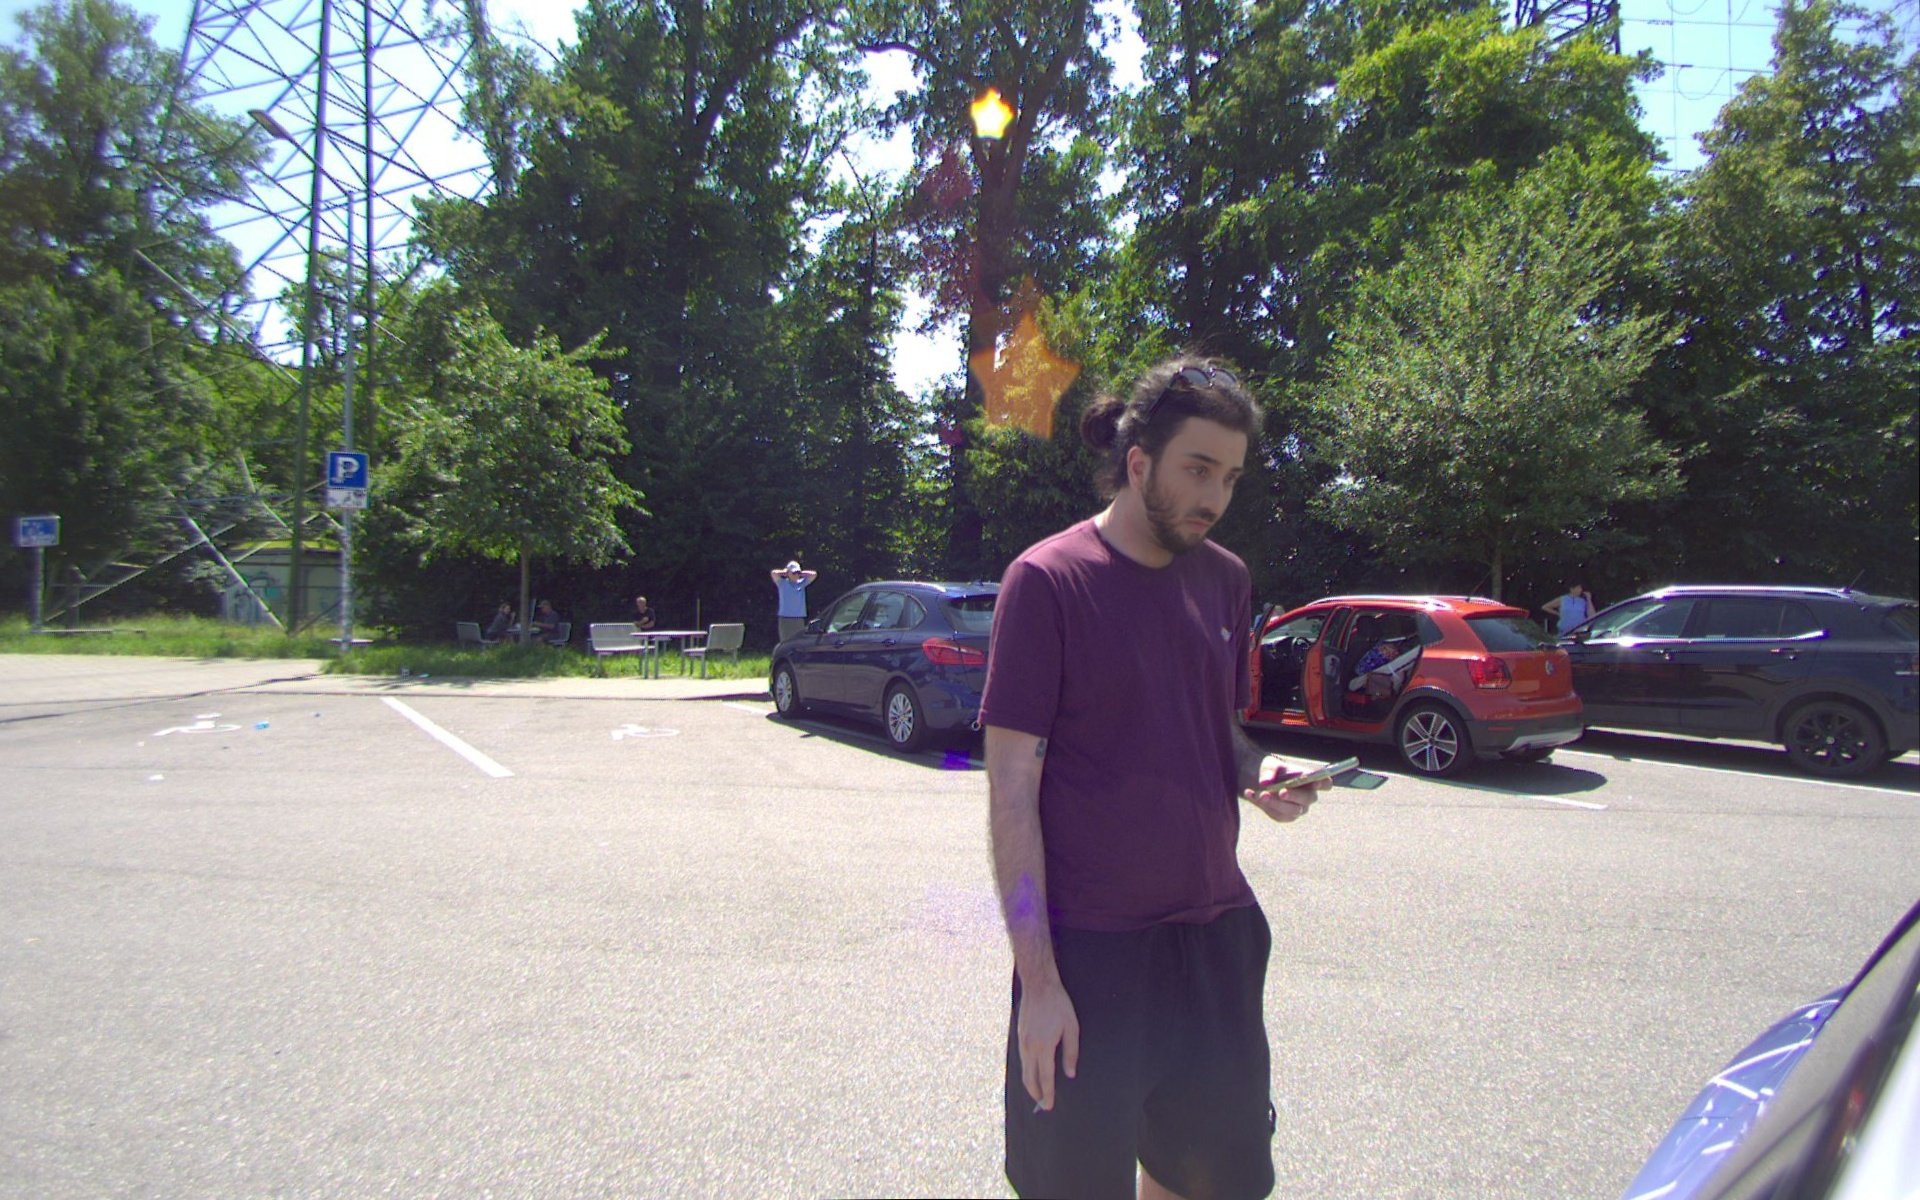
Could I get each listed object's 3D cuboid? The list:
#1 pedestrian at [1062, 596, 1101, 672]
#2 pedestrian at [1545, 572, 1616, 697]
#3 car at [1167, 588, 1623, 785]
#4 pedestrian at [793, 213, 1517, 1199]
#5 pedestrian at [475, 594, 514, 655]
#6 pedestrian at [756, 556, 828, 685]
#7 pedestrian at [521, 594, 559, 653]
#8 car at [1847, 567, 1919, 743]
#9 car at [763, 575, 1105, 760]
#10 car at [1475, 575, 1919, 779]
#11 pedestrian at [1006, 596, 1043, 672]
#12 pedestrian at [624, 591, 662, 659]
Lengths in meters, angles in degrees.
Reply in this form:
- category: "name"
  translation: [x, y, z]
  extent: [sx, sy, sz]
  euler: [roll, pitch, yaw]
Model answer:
- category: "pedestrian"
  translation: [2.033, 0.570, 17.014]
  extent: [0.576, 1.251, 0.697]
  euler: [0, -1, 1]
- category: "pedestrian"
  translation: [9.381, 0.504, 15.318]
  extent: [0.753, 1.854, 0.519]
  euler: [0, 0, 9]
- category: "car"
  translation: [3.872, 0.637, 9.592]
  extent: [1.559, 1.467, 3.737]
  euler: [1, 0, -33]
- category: "pedestrian"
  translation: [0.277, 0.491, 1.718]
  extent: [0.844, 1.857, 0.865]
  euler: [0, 0, -31]
- category: "pedestrian"
  translation: [-10.501, 0.541, 22.838]
  extent: [0.687, 1.352, 0.563]
  euler: [0, 0, -40]
- category: "pedestrian"
  translation: [-2.346, 0.278, 14.222]
  extent: [0.820, 1.754, 0.674]
  euler: [0, 0, 9]
- category: "pedestrian"
  translation: [-9.744, 0.531, 23.476]
  extent: [0.687, 1.352, 0.563]
  euler: [0, 0, -40]
- category: "car"
  translation: [11.236, 0.554, 9.053]
  extent: [1.961, 1.734, 4.620]
  euler: [0, 1, -32]
- category: "car"
  translation: [-0.466, 0.548, 10.664]
  extent: [1.776, 1.562, 3.940]
  euler: [1, 0, -34]
- category: "car"
  translation: [7.237, 0.587, 9.707]
  extent: [1.707, 1.607, 3.732]
  euler: [1, 0, -39]
- category: "pedestrian"
  translation: [1.085, 0.575, 17.080]
  extent: [0.576, 1.251, 0.697]
  euler: [0, -1, 1]
- category: "pedestrian"
  translation: [-6.672, 0.508, 21.315]
  extent: [0.553, 1.408, 0.700]
  euler: [0, 0, 2]
